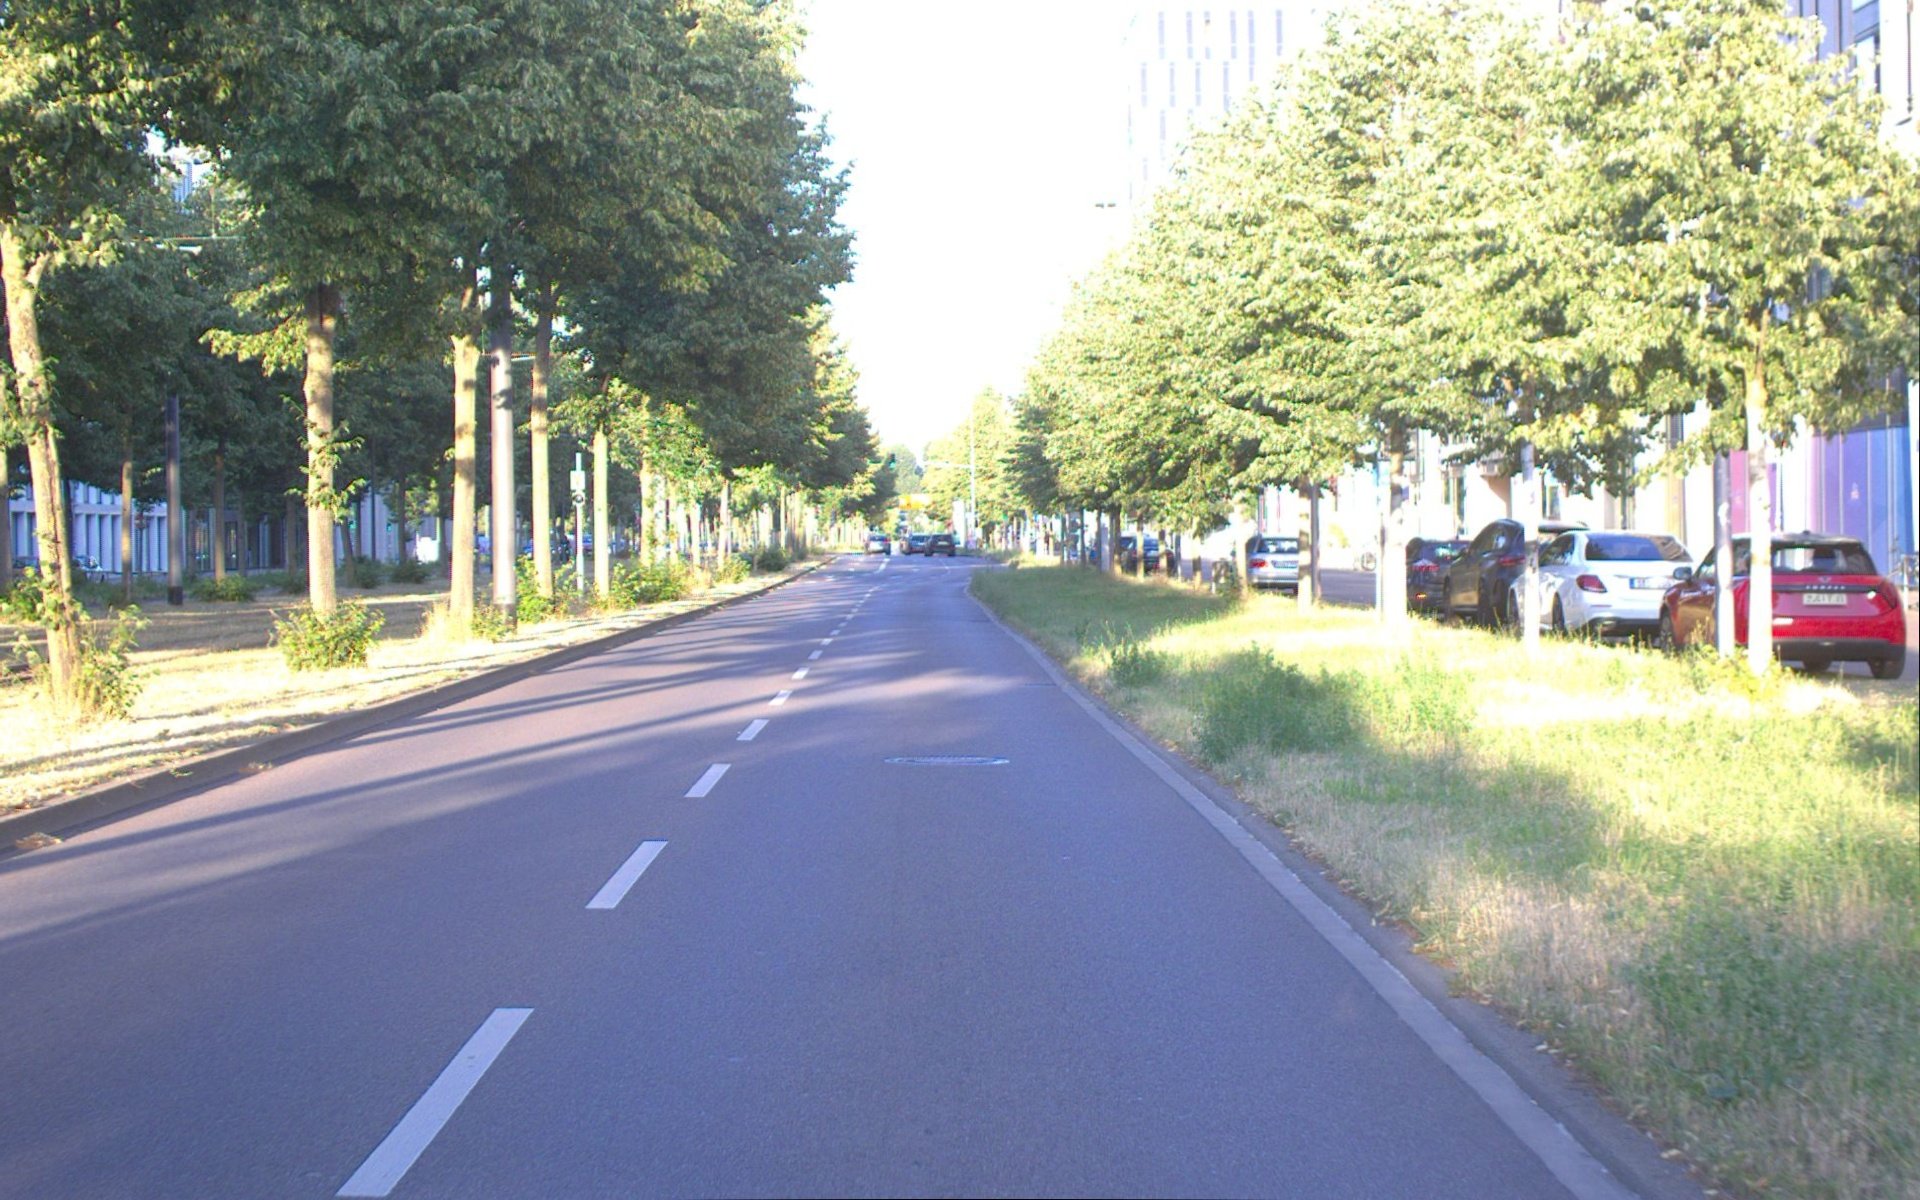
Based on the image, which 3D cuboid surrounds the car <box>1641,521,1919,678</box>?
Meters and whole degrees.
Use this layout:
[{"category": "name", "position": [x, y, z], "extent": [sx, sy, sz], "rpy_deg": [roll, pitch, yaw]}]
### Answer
[{"category": "car", "position": [8.314, -0.048, 35.171], "extent": [1.808, 1.495, 3.960], "rpy_deg": [0, 1, -1]}]

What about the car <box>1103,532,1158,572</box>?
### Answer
[{"category": "car", "position": [6.690, -1.887, 135.103], "extent": [1.854, 1.524, 4.483], "rpy_deg": [1, 1, -1]}]

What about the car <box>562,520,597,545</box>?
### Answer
[{"category": "car", "position": [-24.931, -4.435, 225.094], "extent": [1.885, 1.572, 4.183], "rpy_deg": [-1, 1, -1]}]

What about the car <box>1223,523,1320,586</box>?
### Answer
[{"category": "car", "position": [7.555, -1.127, 83.787], "extent": [1.808, 1.495, 4.826], "rpy_deg": [0, 1, -1]}]

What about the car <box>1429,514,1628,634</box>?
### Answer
[{"category": "car", "position": [8.247, -0.405, 50.284], "extent": [1.953, 1.618, 4.821], "rpy_deg": [2, 1, -1]}]

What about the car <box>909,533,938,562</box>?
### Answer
[{"category": "car", "position": [-2.525, -3.706, 240.849], "extent": [1.993, 2.007, 4.000], "rpy_deg": [-1, 1, 0]}]

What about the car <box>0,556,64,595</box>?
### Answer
[{"category": "car", "position": [-37.755, -1.003, 139.447], "extent": [1.860, 1.576, 3.492], "rpy_deg": [0, 1, 0]}]

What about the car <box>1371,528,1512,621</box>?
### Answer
[{"category": "car", "position": [8.032, -0.456, 57.664], "extent": [1.724, 1.495, 4.233], "rpy_deg": [1, 1, 0]}]

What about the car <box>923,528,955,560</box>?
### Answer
[{"category": "car", "position": [-1.384, -3.630, 222.804], "extent": [1.993, 2.007, 4.000], "rpy_deg": [0, 1, -1]}]

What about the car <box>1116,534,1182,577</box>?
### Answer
[{"category": "car", "position": [7.018, -1.663, 127.863], "extent": [1.943, 1.543, 4.812], "rpy_deg": [-1, 1, -3]}]

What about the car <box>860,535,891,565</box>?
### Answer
[{"category": "car", "position": [-5.791, -3.448, 235.805], "extent": [2.087, 2.007, 4.000], "rpy_deg": [0, 1, -1]}]

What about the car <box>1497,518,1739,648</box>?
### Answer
[{"category": "car", "position": [8.100, -0.252, 42.748], "extent": [1.920, 1.495, 5.010], "rpy_deg": [0, 1, -1]}]

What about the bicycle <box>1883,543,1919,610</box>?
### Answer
[{"category": "bicycle", "position": [15.181, -0.382, 54.474], "extent": [0.533, 1.056, 1.613], "rpy_deg": [-1, 1, -6]}]
